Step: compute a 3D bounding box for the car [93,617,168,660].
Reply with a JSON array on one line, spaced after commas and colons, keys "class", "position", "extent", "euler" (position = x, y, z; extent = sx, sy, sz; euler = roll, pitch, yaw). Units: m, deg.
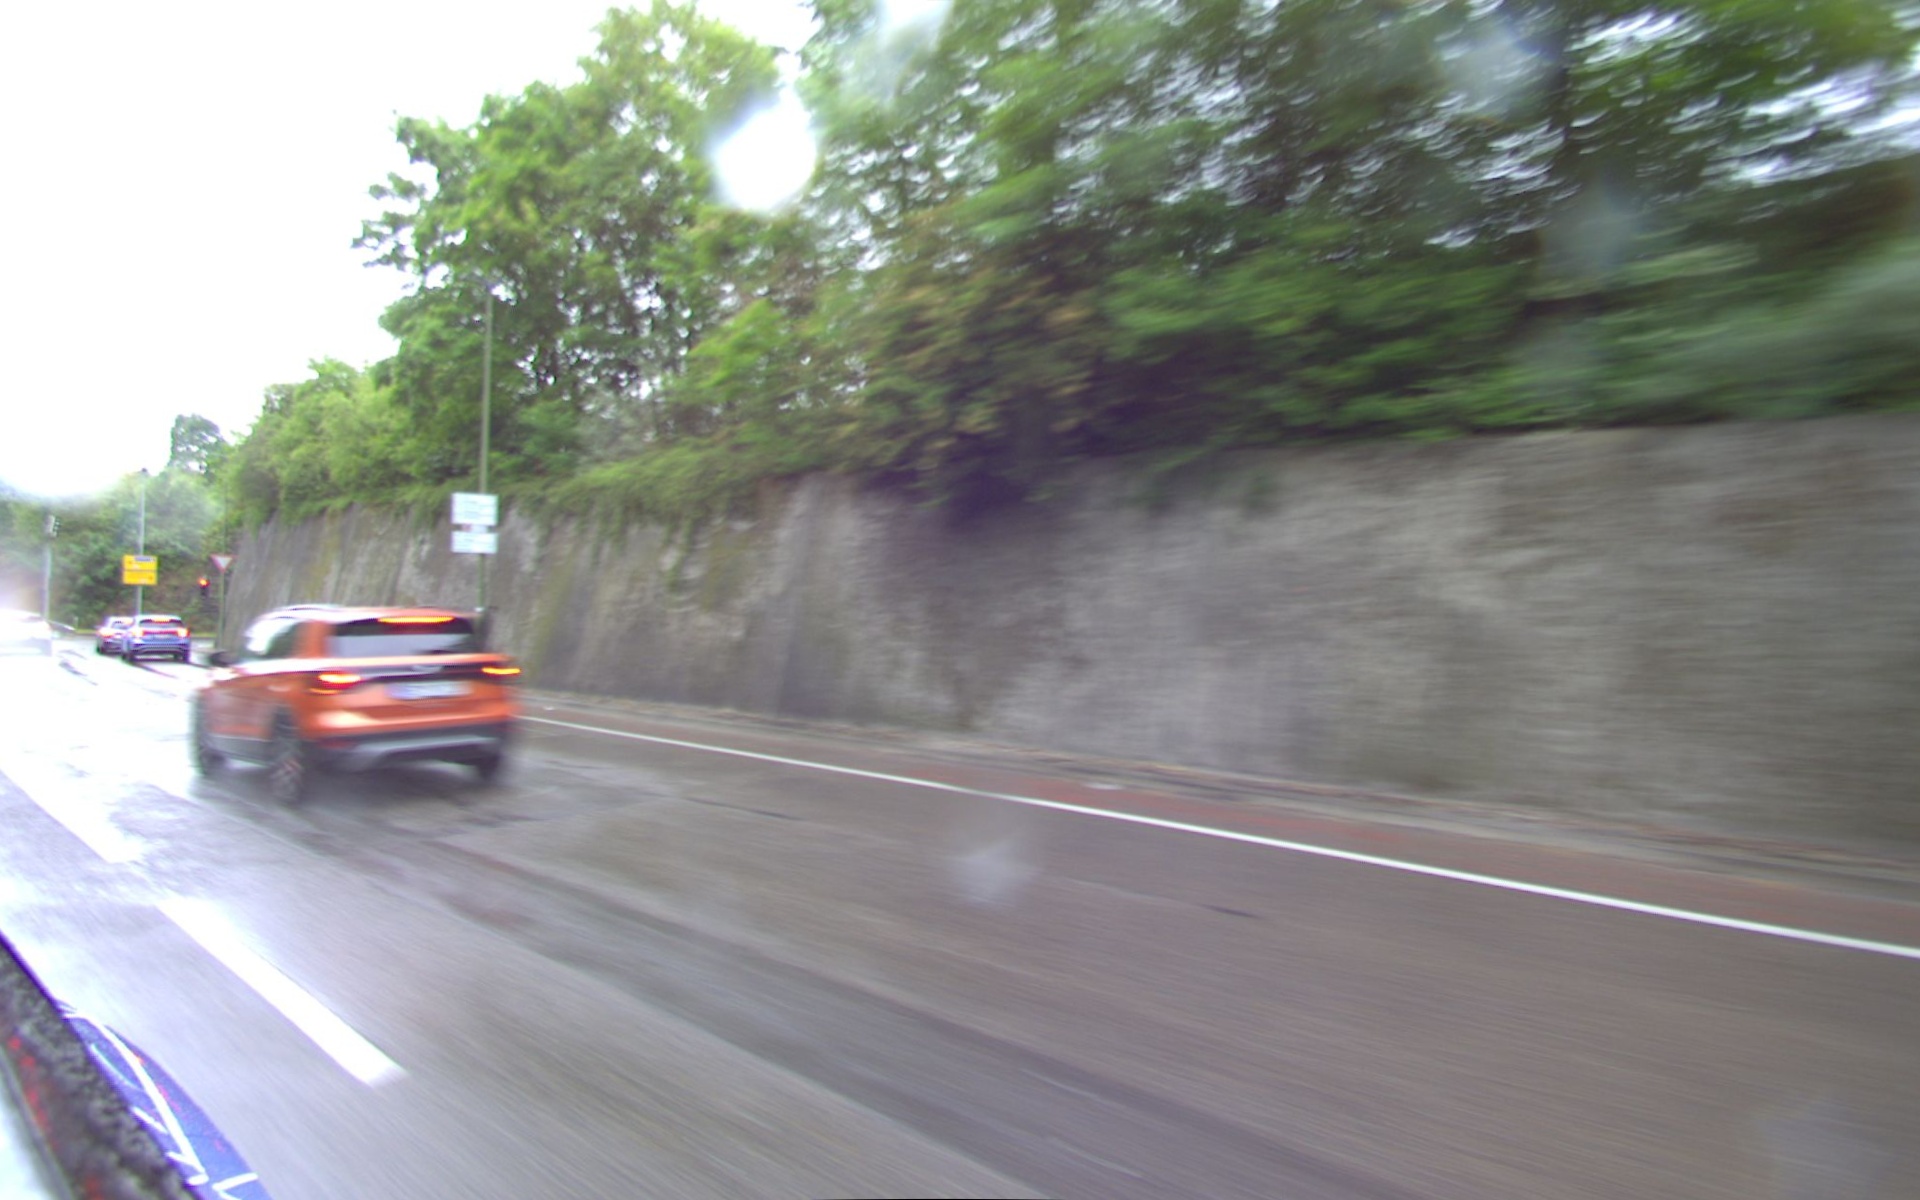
[{"class": "car", "position": [-33.741, 1.546, 41.110], "extent": [1.970, 1.514, 4.734], "euler": [6, -4, -43]}]

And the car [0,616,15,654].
[{"class": "car", "position": [-49.689, 1.721, 49.921], "extent": [4.321, 1.892, 1.941], "euler": [2, -2, -39]}]

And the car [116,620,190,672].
[{"class": "car", "position": [-28.702, 1.609, 35.965], "extent": [1.793, 1.670, 4.056], "euler": [3, -2, -42]}]

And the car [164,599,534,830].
[{"class": "car", "position": [-5.627, 0.829, 9.121], "extent": [3.998, 1.630, 1.714], "euler": [0, -2, 42]}]

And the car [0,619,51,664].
[{"class": "car", "position": [-35.507, 1.546, 38.106], "extent": [1.846, 1.614, 4.004], "euler": [2, -3, -42]}]
